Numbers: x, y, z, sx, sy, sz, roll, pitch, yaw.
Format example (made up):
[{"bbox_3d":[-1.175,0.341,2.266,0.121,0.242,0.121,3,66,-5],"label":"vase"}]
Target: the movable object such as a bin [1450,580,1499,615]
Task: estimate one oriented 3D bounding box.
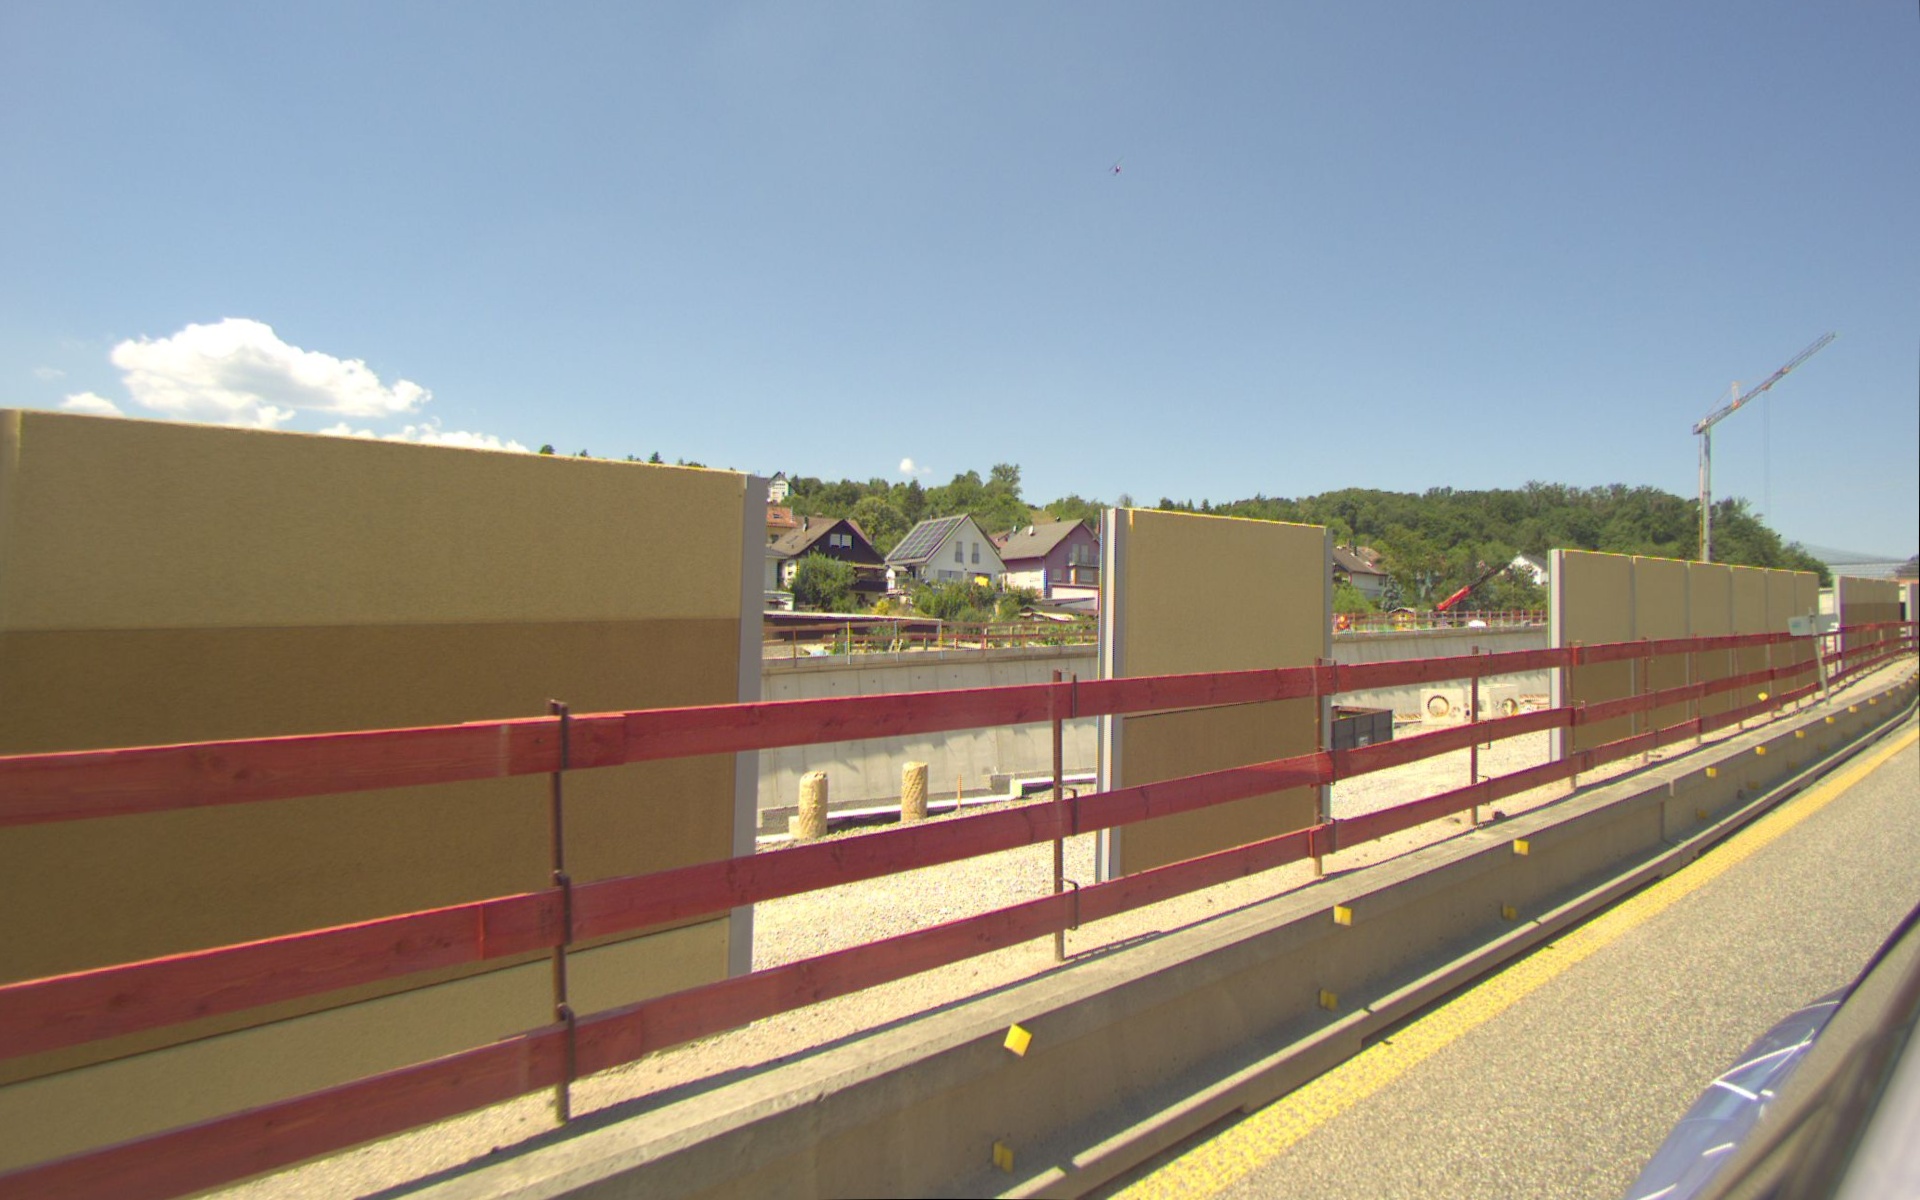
[{"bbox_3d":[46.046,-0.207,90.539,4.831,3.123,2.201,1,-1,-41],"label":"movable object such as a bin"}]
